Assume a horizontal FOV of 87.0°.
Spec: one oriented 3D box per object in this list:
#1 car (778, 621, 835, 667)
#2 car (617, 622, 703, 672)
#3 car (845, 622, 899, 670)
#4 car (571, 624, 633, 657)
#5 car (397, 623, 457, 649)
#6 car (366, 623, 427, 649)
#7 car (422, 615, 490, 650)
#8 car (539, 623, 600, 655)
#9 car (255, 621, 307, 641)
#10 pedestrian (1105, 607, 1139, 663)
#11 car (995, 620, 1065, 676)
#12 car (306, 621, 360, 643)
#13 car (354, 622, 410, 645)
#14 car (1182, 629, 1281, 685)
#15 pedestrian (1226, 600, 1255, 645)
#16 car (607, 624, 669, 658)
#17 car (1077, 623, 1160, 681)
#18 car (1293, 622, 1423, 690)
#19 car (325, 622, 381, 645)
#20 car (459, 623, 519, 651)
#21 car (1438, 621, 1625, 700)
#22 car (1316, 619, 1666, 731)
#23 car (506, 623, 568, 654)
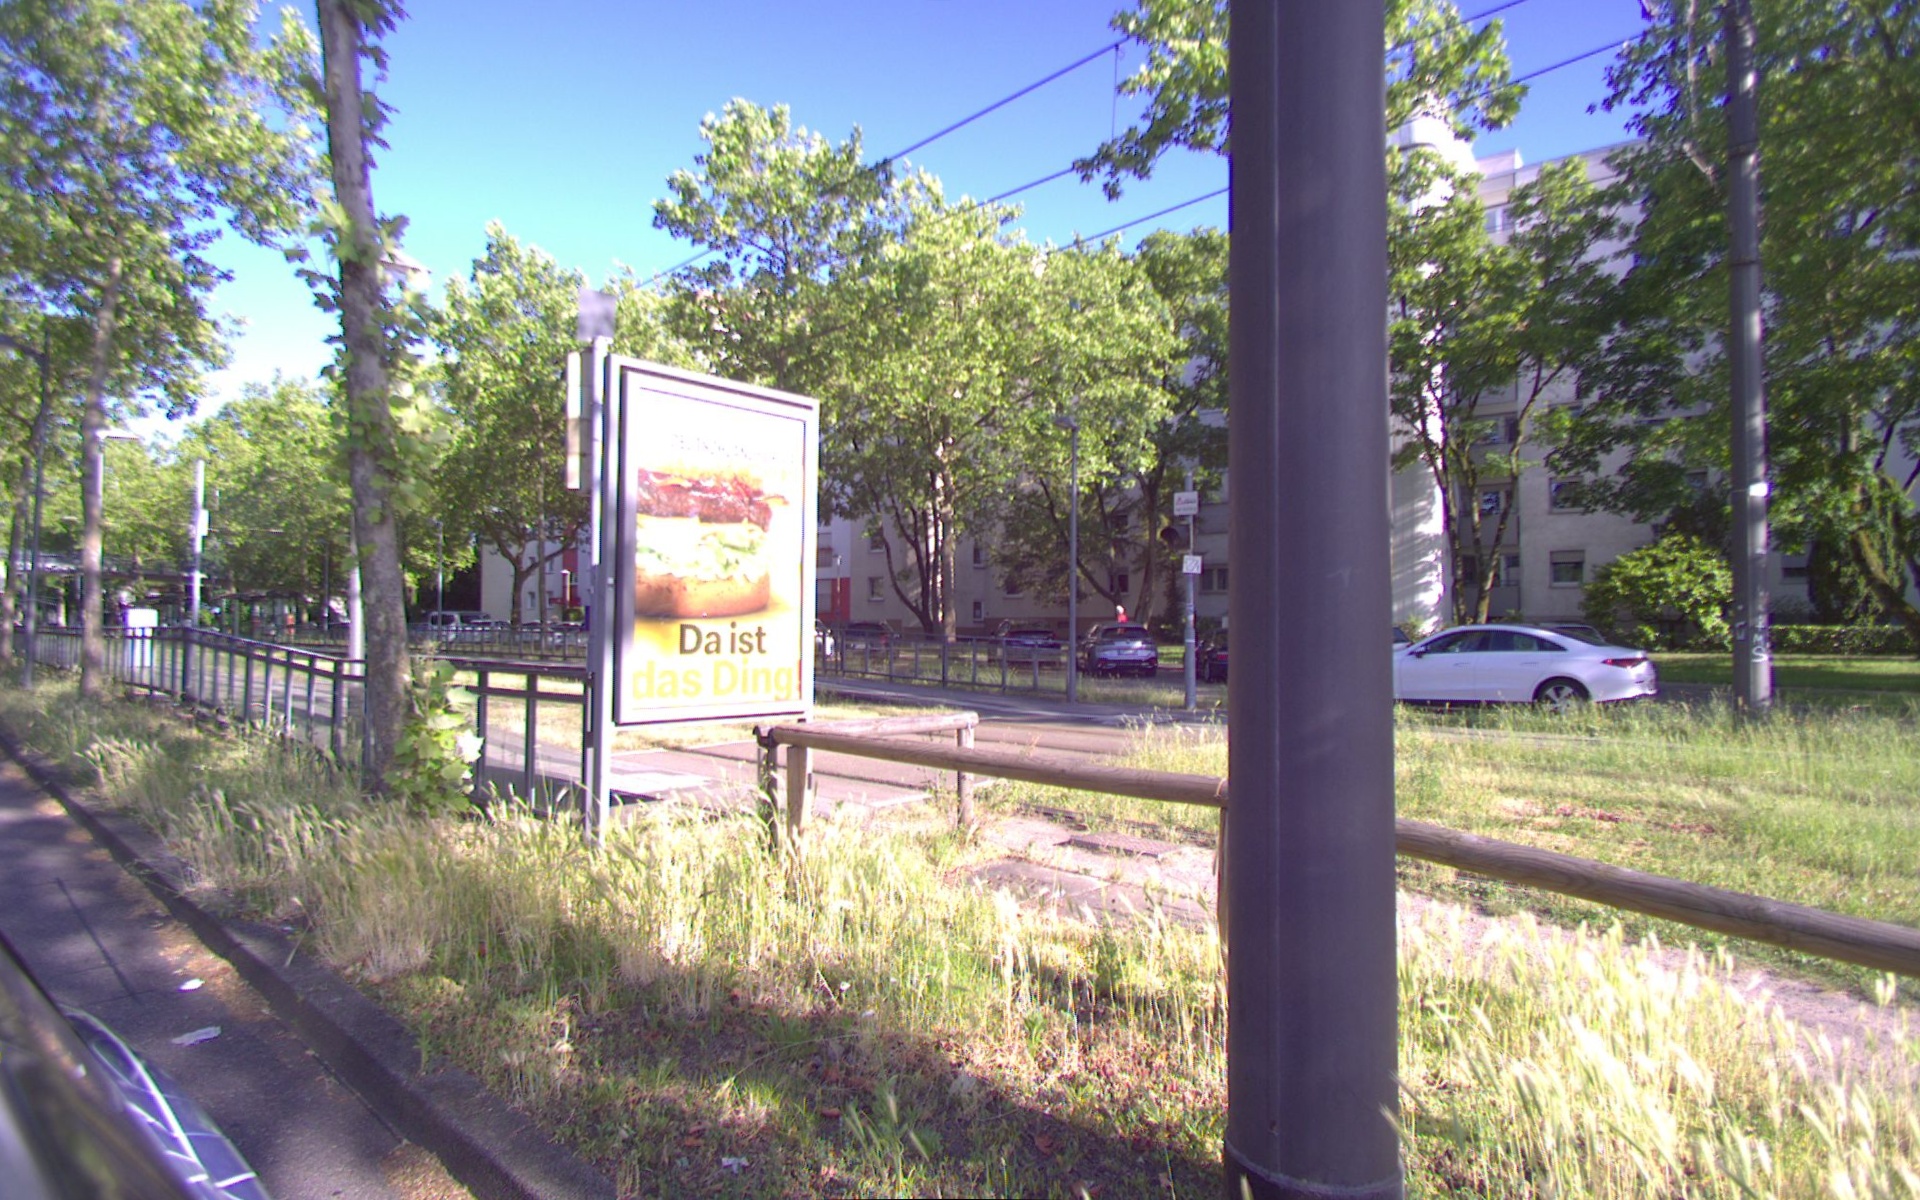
[{"bbox_3d":[-5.556,1.567,37.011,1.633,1.522,3.805,-1,-1,-2],"label":"car"},{"bbox_3d":[-10.080,1.538,33.935,2.817,1.569,1.558,-2,-1,44],"label":"car"},{"bbox_3d":[-2.966,1.525,34.642,1.633,1.522,3.805,-1,-1,-2],"label":"car"},{"bbox_3d":[-16.616,1.853,47.153,1.633,1.452,3.805,-1,-1,-2],"label":"car"},{"bbox_3d":[-31.321,2.081,59.593,1.633,1.452,3.805,-1,-1,-2],"label":"car"},{"bbox_3d":[-33.684,2.112,60.597,1.633,1.452,3.805,-1,-1,-2],"label":"car"},{"bbox_3d":[-28.442,1.823,57.248,1.814,1.888,4.323,-1,-1,-2],"label":"car"},{"bbox_3d":[-19.035,1.895,49.534,1.633,1.452,3.805,-1,-1,-2],"label":"car"},{"bbox_3d":[-53.039,2.400,79.148,1.633,1.452,3.805,-1,-1,-2],"label":"car"},{"bbox_3d":[5.147,1.093,32.189,0.786,1.745,0.755,-1,0,39],"label":"pedestrian"},{"bbox_3d":[1.993,1.353,29.660,1.633,1.522,3.805,-1,-1,-2],"label":"car"},{"bbox_3d":[-44.968,2.286,72.676,1.633,1.452,3.805,-1,-1,-2],"label":"car"},{"bbox_3d":[-37.874,2.171,66.373,1.633,1.452,3.805,-1,-1,-2],"label":"car"},{"bbox_3d":[6.684,1.375,25.270,1.445,1.234,3.815,-1,-1,0],"label":"car"},{"bbox_3d":[10.430,0.834,37.593,0.786,1.635,0.755,-1,0,39],"label":"pedestrian"},{"bbox_3d":[-14.053,1.763,44.330,1.633,1.366,3.805,-1,-1,-2],"label":"car"},{"bbox_3d":[4.227,1.362,27.512,1.633,1.413,3.803,-1,-1,0],"label":"car"},{"bbox_3d":[9.152,1.236,23.583,1.559,1.413,3.638,-1,-1,0],"label":"car"},{"bbox_3d":[-40.827,2.225,68.186,1.633,1.452,3.805,-1,-1,-2],"label":"car"},{"bbox_3d":[-25.860,1.998,55.654,1.633,1.452,3.805,-1,-1,-2],"label":"car"},{"bbox_3d":[11.483,1.159,20.657,1.559,1.413,3.906,-1,-1,0],"label":"car"},{"bbox_3d":[8.253,1.084,16.045,4.642,1.522,1.633,-2,-1,42],"label":"car"},{"bbox_3d":[-21.327,1.938,51.177,1.633,1.452,3.805,-1,-1,-2],"label":"car"}]
